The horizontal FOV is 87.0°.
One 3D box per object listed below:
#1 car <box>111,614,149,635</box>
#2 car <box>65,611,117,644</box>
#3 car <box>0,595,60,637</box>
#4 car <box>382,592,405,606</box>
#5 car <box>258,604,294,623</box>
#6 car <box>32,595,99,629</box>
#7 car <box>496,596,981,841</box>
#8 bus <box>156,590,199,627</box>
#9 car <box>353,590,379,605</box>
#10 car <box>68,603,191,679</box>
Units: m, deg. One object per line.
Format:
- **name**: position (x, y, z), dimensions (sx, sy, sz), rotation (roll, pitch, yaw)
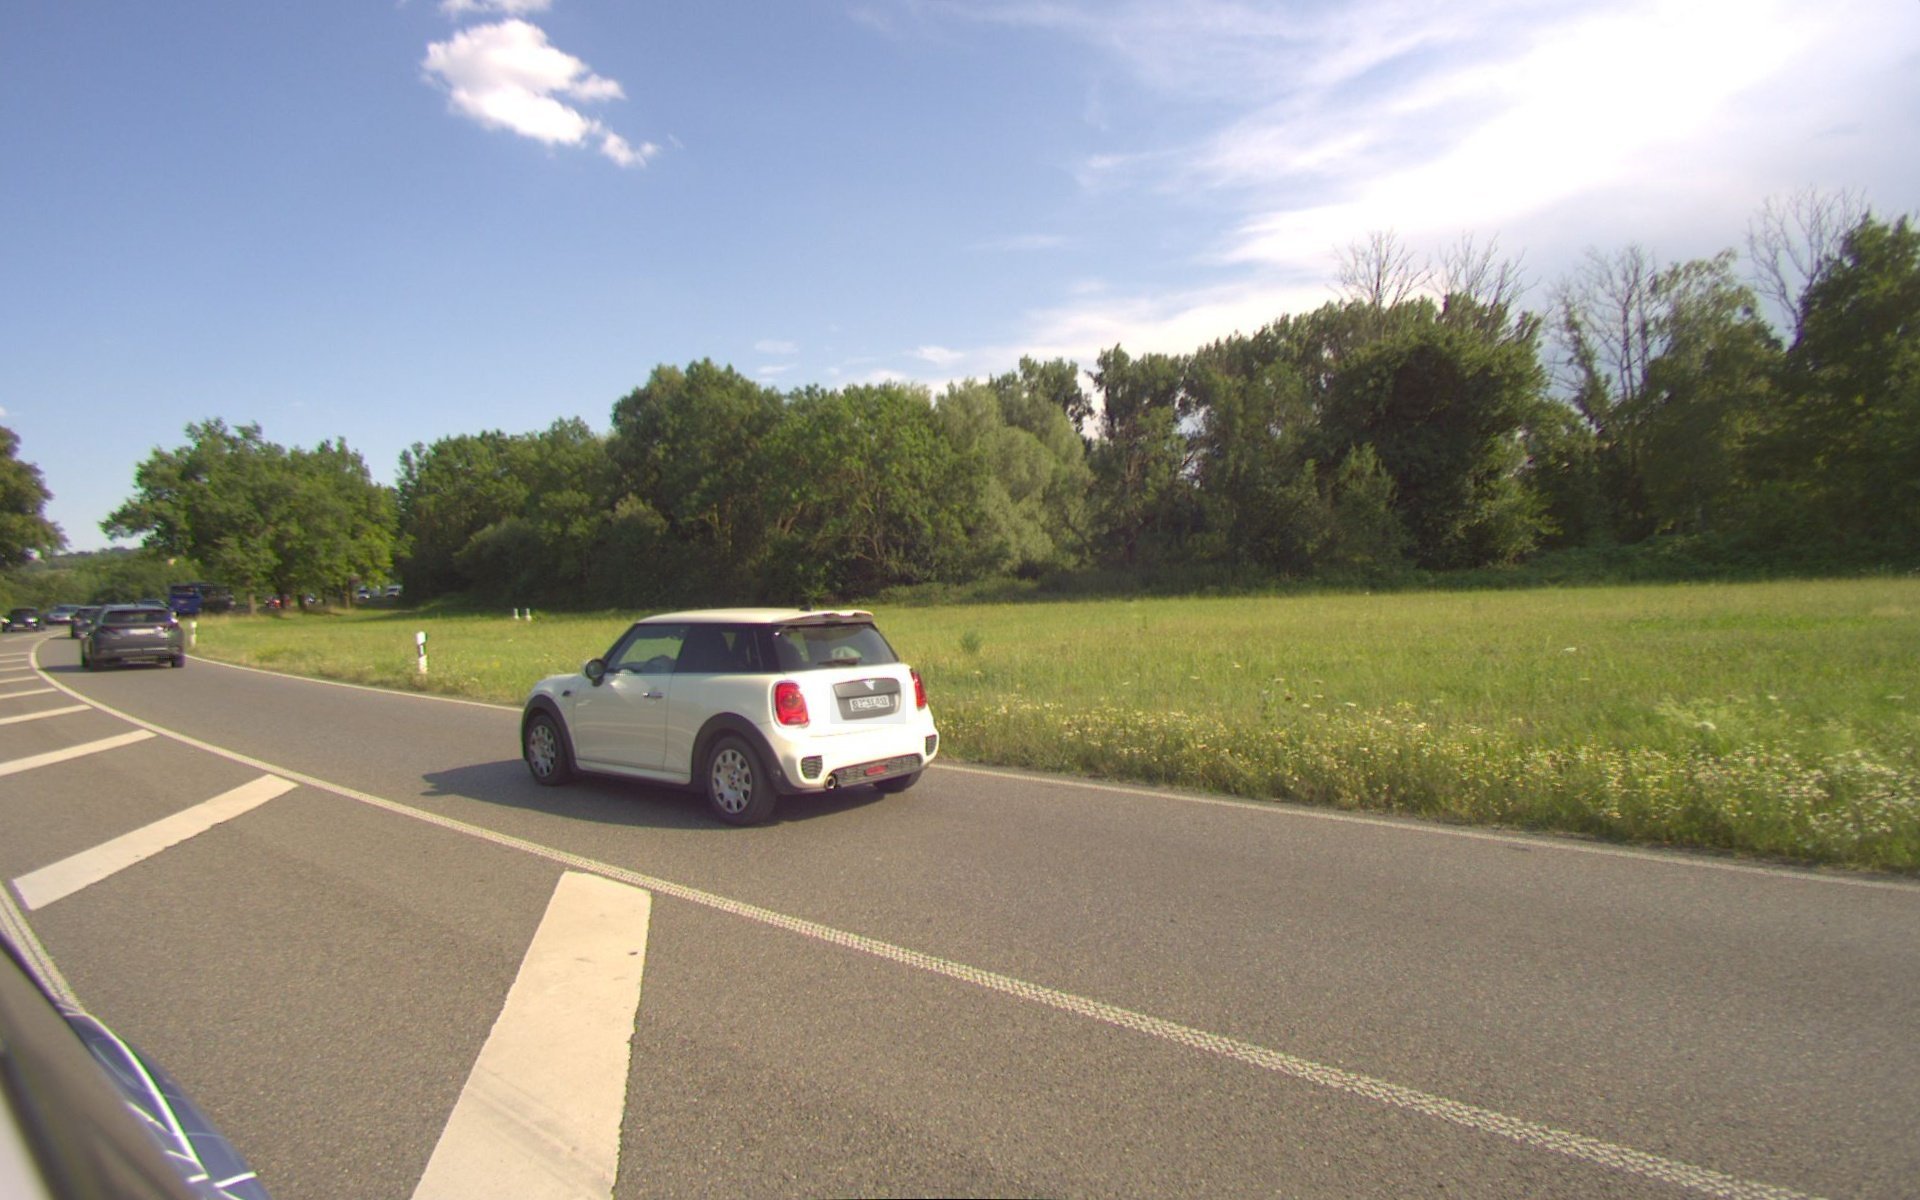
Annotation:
- **car**: position (-58.796, 1.720, 71.672), dimensions (1.680, 1.344, 4.753), rotation (-1, 1, -44)
- **car**: position (-43.554, 1.395, 50.787), dimensions (1.672, 1.564, 4.161), rotation (0, -2, -36)
- **car**: position (-57.467, 0.937, 61.760), dimensions (2.054, 2.435, 5.159), rotation (-1, 1, -21)
- **car**: position (-105.136, -0.219, 187.771), dimensions (2.056, 2.435, 5.153), rotation (-1, 1, -10)
- **car**: position (-91.612, 1.780, 135.631), dimensions (2.056, 2.435, 5.153), rotation (-1, 1, -10)
- **car**: position (-67.557, 0.863, 76.519), dimensions (2.054, 2.435, 5.159), rotation (-1, 1, -21)
- **car**: position (-1.836, 0.726, 7.836), dimensions (3.744, 1.447, 1.703), rotation (-1, -1, 38)
- **bus**: position (-73.526, 0.715, 95.005), dimensions (2.759, 3.205, 12.148), rotation (-2, 2, -39)
- **car**: position (-101.562, -0.412, 173.007), dimensions (2.056, 2.435, 5.153), rotation (-1, 1, -10)
- **car**: position (-21.649, 1.042, 26.316), dimensions (4.427, 1.738, 1.971), rotation (-2, 0, 44)
